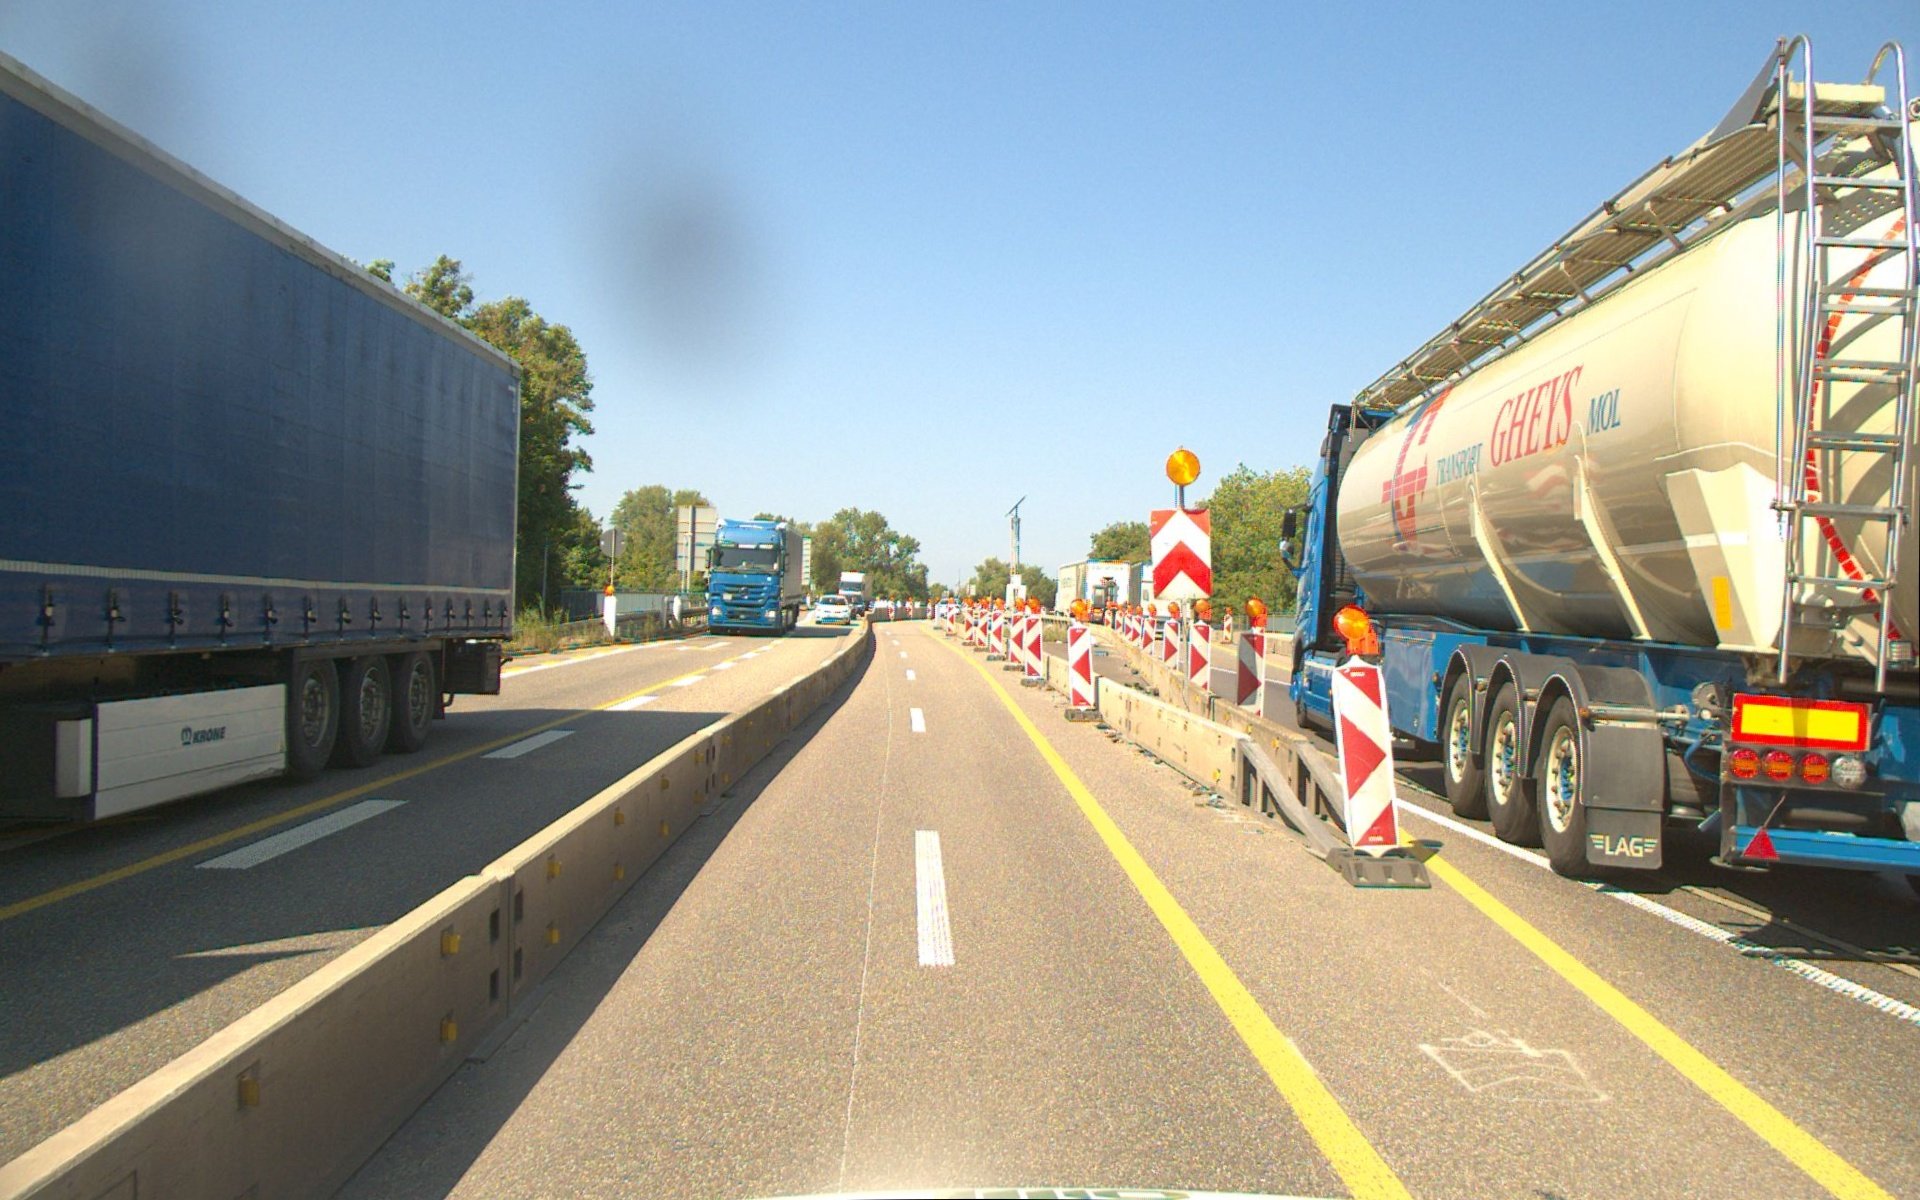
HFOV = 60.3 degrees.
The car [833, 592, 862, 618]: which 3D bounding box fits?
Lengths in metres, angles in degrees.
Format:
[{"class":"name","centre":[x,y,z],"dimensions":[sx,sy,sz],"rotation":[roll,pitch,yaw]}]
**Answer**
[{"class":"car","centre":[-7.287,0.299,107.336],"dimensions":[1.703,1.579,3.940],"rotation":[2,0,-3]}]

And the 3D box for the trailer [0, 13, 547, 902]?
[{"class":"trailer","centre":[-5.882,-0.667,11.603],"dimensions":[2.567,4.200,14.064],"rotation":[1,0,-1]}]

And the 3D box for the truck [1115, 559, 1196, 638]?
[{"class":"truck","centre":[9.009,-0.081,77.098],"dimensions":[2.582,3.487,7.229],"rotation":[0,0,-3]}]

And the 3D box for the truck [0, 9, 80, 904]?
[{"class":"truck","centre":[-5.763,-0.692,5.147],"dimensions":[2.567,4.200,6.505],"rotation":[1,0,-1]}]

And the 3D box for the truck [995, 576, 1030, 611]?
[{"class":"truck","centre":[6.859,-0.797,217.494],"dimensions":[4.134,4.341,10.238],"rotation":[1,0,-1]}]

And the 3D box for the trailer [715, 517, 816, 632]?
[{"class":"trailer","centre":[-7.608,-0.970,66.503],"dimensions":[2.747,4.113,13.464],"rotation":[1,0,-2]}]

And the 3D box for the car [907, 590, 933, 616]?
[{"class":"car","centre":[-2.925,0.234,121.337],"dimensions":[1.780,1.807,3.998],"rotation":[1,0,-3]}]

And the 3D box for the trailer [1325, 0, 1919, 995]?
[{"class":"trailer","centre":[4.940,-0.526,12.660],"dimensions":[2.637,4.210,12.622],"rotation":[1,0,5]}]

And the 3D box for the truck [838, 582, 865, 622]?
[{"class":"truck","centre":[-11.715,0.191,178.729],"dimensions":[2.694,4.209,6.412],"rotation":[1,0,-2]}]

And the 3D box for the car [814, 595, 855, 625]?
[{"class":"car","centre":[-6.390,0.491,84.551],"dimensions":[1.777,1.442,4.152],"rotation":[2,0,-1]}]

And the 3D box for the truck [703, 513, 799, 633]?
[{"class":"truck","centre":[-7.419,-0.941,59.437],"dimensions":[2.758,4.060,5.983],"rotation":[1,0,-2]}]

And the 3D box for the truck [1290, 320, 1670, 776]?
[{"class":"truck","centre":[5.519,-0.479,18.914],"dimensions":[2.637,4.174,7.305],"rotation":[1,0,5]}]

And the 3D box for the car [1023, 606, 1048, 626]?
[{"class":"car","centre":[7.009,1.451,154.804],"dimensions":[1.954,1.807,3.998],"rotation":[1,0,-3]}]

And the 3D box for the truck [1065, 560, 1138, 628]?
[{"class":"truck","centre":[8.329,-0.347,98.154],"dimensions":[3.321,3.840,7.228],"rotation":[1,0,-3]}]
